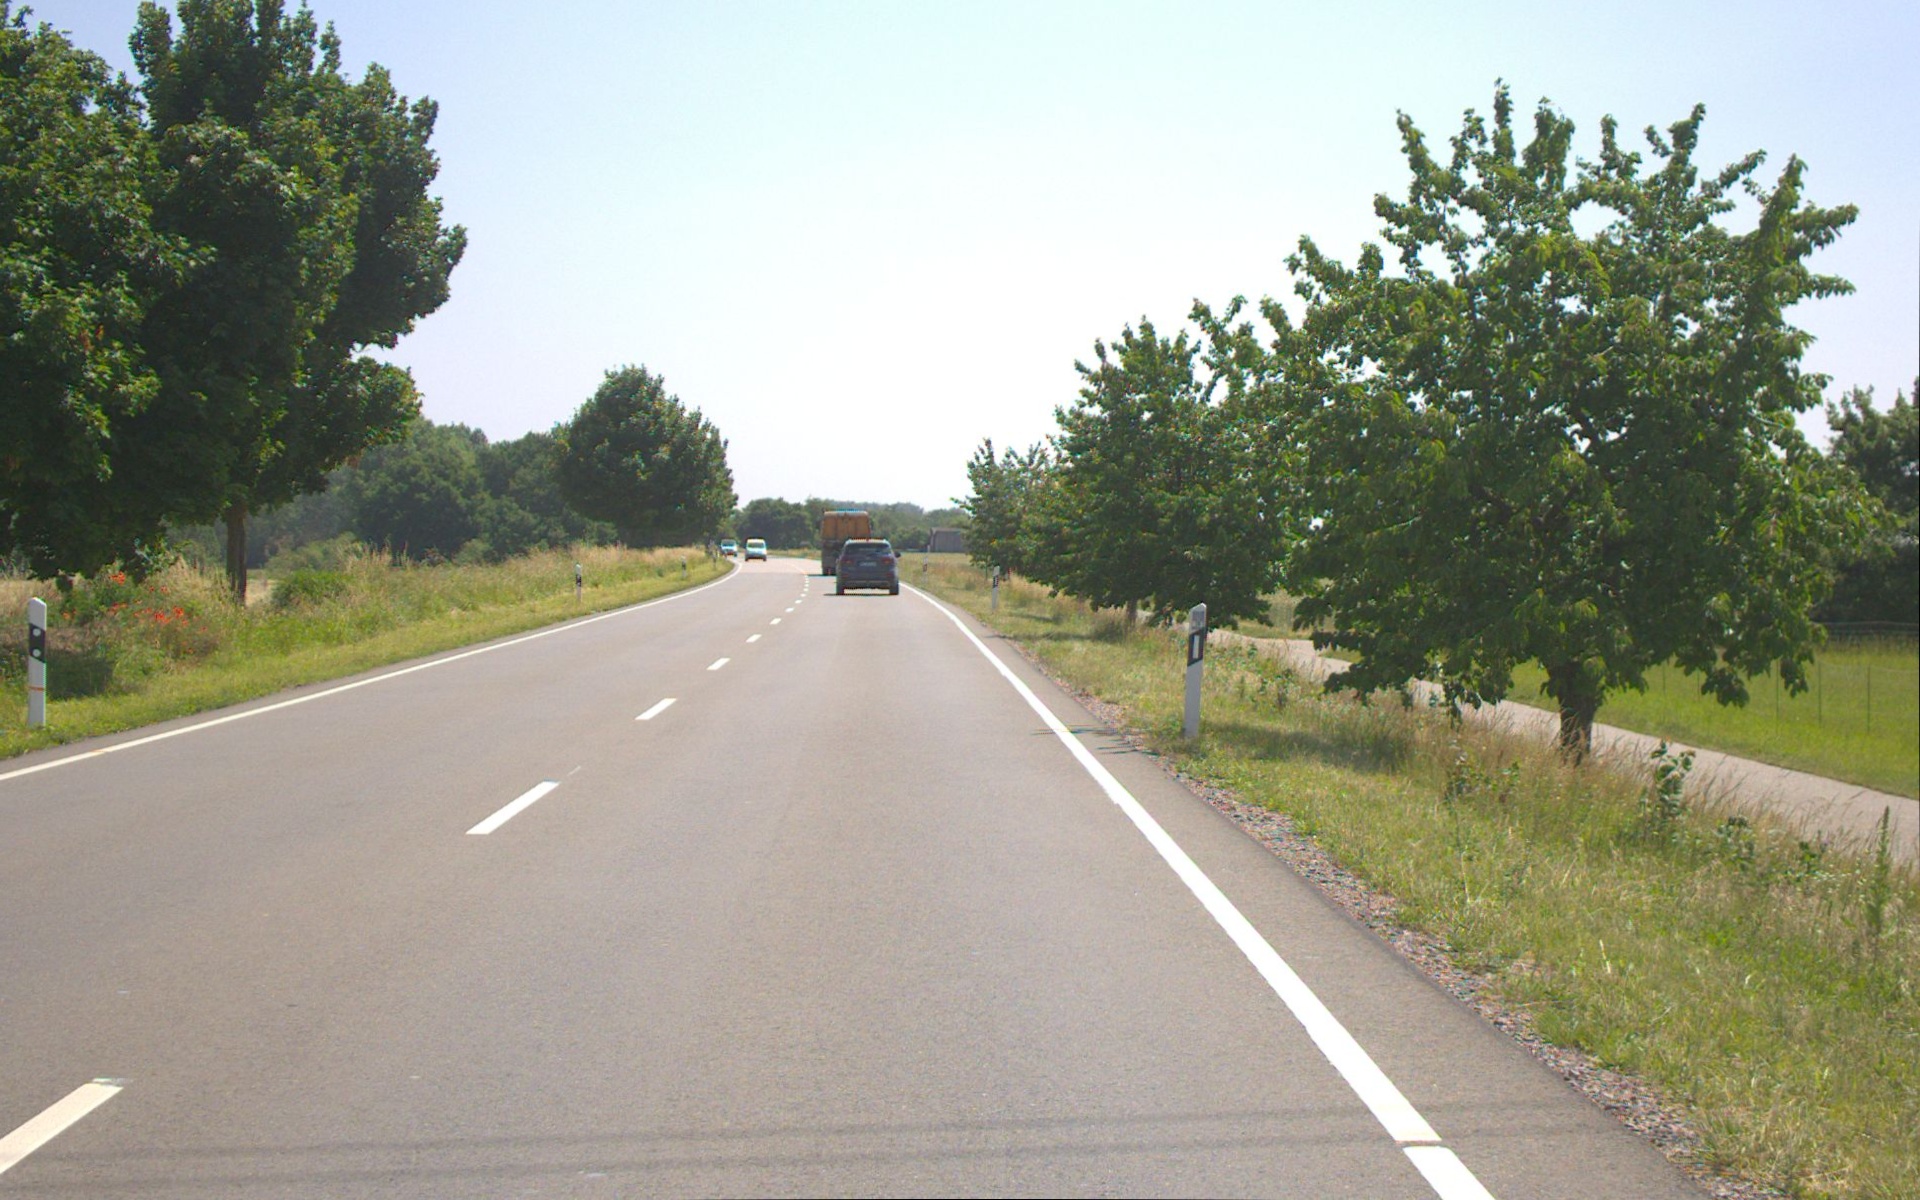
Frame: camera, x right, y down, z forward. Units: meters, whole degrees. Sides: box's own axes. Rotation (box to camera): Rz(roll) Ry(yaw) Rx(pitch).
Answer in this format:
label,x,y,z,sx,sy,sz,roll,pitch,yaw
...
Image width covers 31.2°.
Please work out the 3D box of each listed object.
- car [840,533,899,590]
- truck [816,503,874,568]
label,x,y,z,sx,sy,sz,roll,pitch,yaw
car,-2.730,-1.158,104.280,1.714,1.688,3.989,1,1,-1
truck,-5.721,-3.167,170.244,2.370,3.129,8.749,0,1,-5
